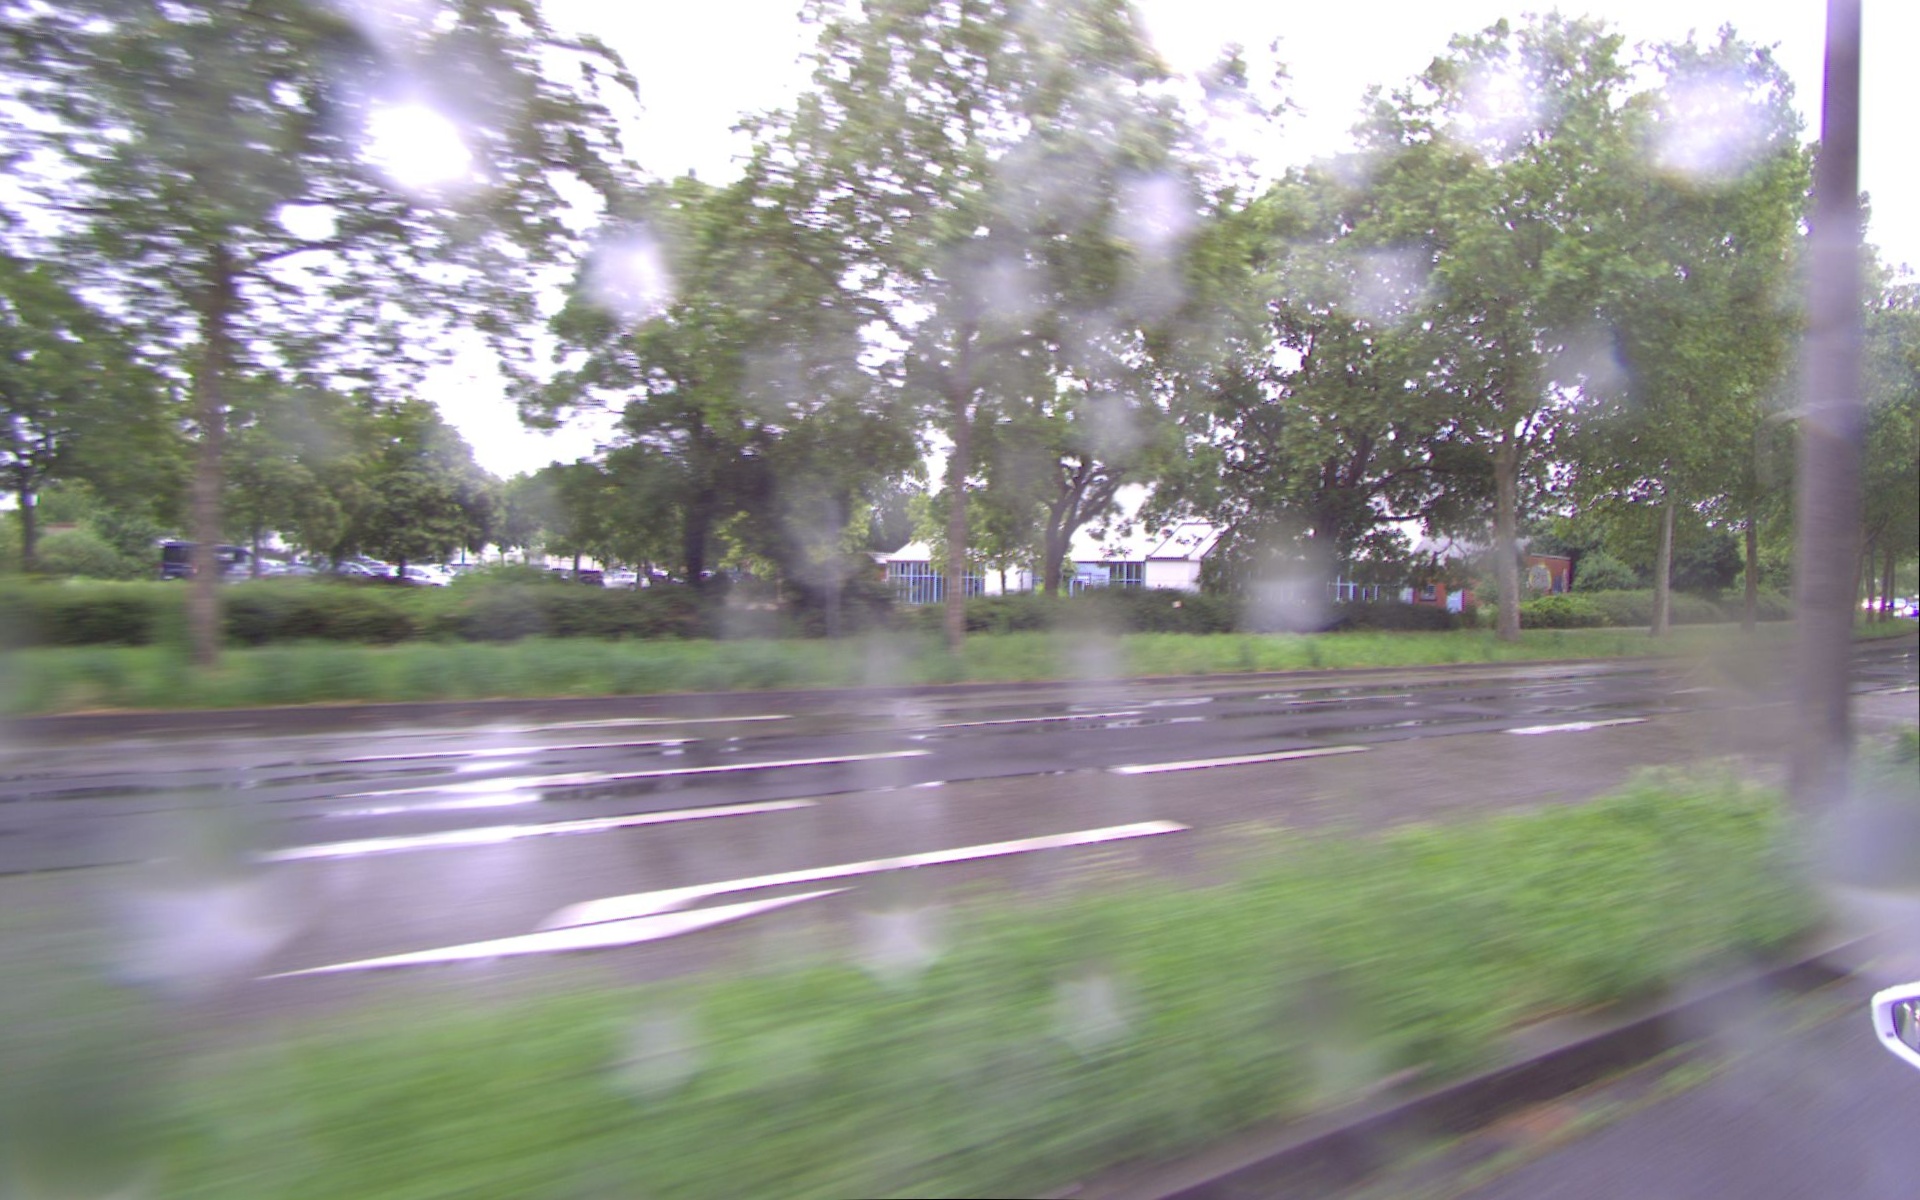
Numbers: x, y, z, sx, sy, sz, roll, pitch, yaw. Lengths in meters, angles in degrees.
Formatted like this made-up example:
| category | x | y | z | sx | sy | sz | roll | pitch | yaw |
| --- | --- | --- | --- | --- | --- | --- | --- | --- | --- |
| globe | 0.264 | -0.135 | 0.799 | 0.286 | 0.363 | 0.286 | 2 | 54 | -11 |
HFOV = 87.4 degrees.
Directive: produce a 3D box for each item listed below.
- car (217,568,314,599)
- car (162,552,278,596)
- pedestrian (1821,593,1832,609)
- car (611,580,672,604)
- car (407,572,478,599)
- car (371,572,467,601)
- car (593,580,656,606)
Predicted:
| category | x | y | z | sx | sy | sz | roll | pitch | yaw |
| --- | --- | --- | --- | --- | --- | --- | --- | --- | --- |
| car | -37.134 | -0.882 | 53.873 | 1.960 | 1.558 | 4.499 | 1 | 1 | 3 |
| car | -39.609 | -1.372 | 53.948 | 1.960 | 2.203 | 5.418 | 1 | 1 | 4 |
| pedestrian | 92.358 | 0.059 | 107.040 | 0.820 | 1.696 | 0.896 | 1 | 1 | 38 |
| car | -26.501 | -0.685 | 83.722 | 4.409 | 1.927 | 2.000 | 1 | 1 | 2 |
| car | -39.341 | -1.110 | 76.411 | 4.409 | 1.927 | 2.000 | 1 | 1 | 2 |
| car | -30.932 | -0.756 | 57.535 | 4.409 | 1.558 | 2.000 | 1 | 1 | 2 |
| car | -27.105 | -0.568 | 81.175 | 4.409 | 1.927 | 2.000 | 1 | 1 | 2 |
